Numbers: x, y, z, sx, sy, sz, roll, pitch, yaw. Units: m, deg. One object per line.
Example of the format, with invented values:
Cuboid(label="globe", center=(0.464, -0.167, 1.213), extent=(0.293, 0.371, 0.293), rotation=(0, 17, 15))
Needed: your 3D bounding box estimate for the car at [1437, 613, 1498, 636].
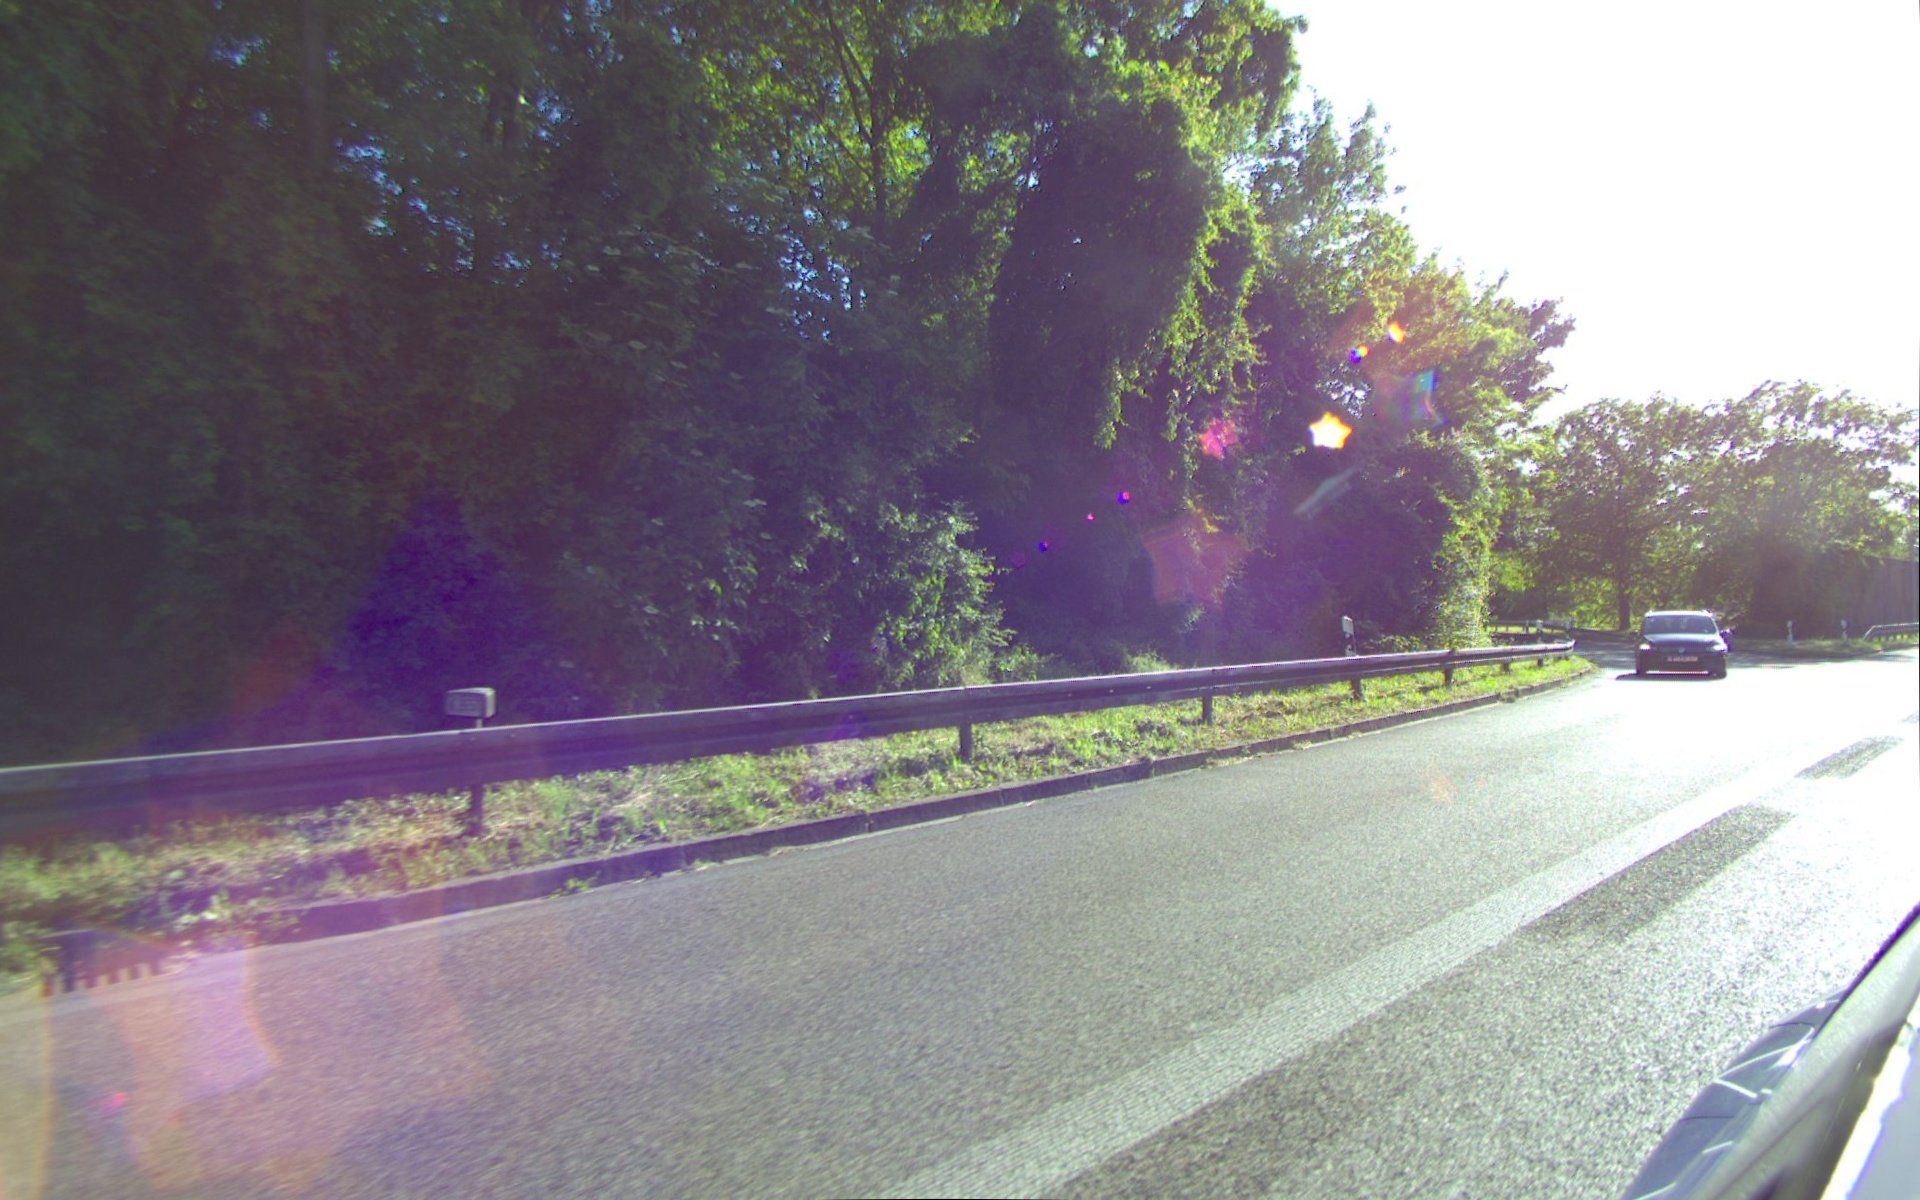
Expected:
Cuboid(label="car", center=(31.265, 1.543, 62.408), extent=(1.611, 1.301, 3.999), rotation=(-1, -3, -1))

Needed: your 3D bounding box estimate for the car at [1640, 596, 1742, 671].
Cuboid(label="car", center=(18.081, 0.842, 24.976), extent=(1.738, 1.684, 3.942), rotation=(-3, -3, 39))
